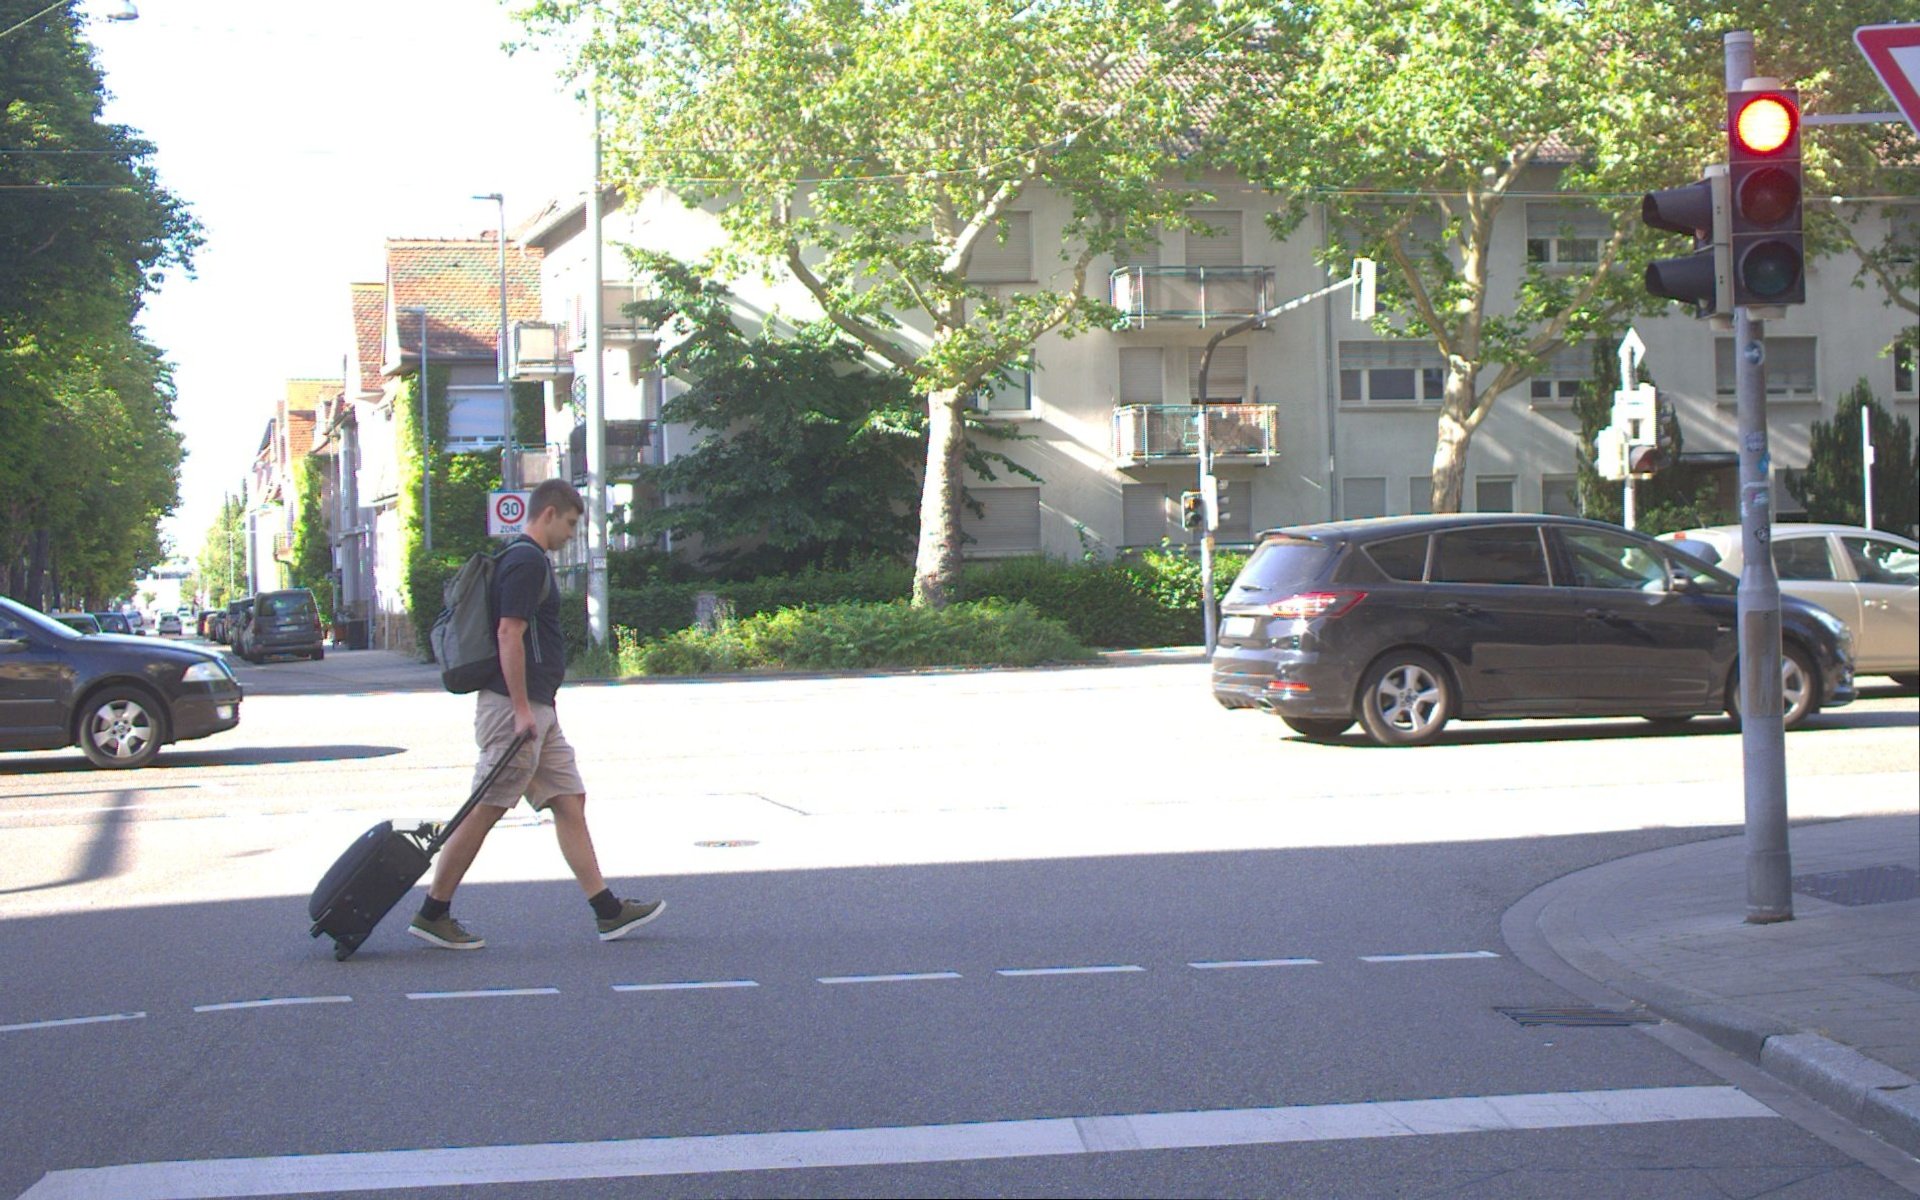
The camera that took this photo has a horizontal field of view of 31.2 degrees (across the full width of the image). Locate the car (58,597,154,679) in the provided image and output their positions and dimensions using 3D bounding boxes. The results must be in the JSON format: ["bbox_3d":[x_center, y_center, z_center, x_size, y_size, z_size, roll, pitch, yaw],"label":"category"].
[{"bbox_3d":[-17.262,0.749,69.610,1.698,1.478,3.535,-3,1,-12],"label":"car"}]

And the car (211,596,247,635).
[{"bbox_3d":[-38.445,0.819,180.830,1.772,1.912,3.535,-3,1,-12],"label":"car"}]

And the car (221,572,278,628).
[{"bbox_3d":[-26.444,-0.005,128.006,1.993,2.007,4.001,1,1,-11],"label":"car"}]

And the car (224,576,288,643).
[{"bbox_3d":[-21.441,0.269,104.650,1.772,1.912,3.535,-3,1,-12],"label":"car"}]

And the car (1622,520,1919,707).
[{"bbox_3d":[7.958,0.060,29.358,4.200,1.451,1.679,-2,2,-16],"label":"car"}]

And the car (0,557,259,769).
[{"bbox_3d":[-7.552,0.479,25.260,4.616,1.451,1.982,-2,1,-13],"label":"car"}]

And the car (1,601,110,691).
[{"bbox_3d":[-16.640,0.817,63.364,1.698,1.478,3.535,-3,1,-12],"label":"car"}]

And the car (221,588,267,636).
[{"bbox_3d":[-30.513,0.490,146.447,1.772,1.912,3.535,-3,1,-12],"label":"car"}]

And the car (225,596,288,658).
[{"bbox_3d":[-23.653,0.893,115.613,1.993,2.007,4.001,1,1,-11],"label":"car"}]

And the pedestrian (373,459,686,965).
[{"bbox_3d":[-1.661,0.406,13.177,1.065,1.842,0.749,-2,1,-13],"label":"pedestrian"}]

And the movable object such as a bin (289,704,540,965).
[{"bbox_3d":[-2.029,0.857,12.746,0.861,0.889,0.509,-2,1,-13],"label":"movable object such as a bin"}]

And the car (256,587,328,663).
[{"bbox_3d":[-18.378,0.661,94.535,1.772,1.912,3.535,-3,1,-12],"label":"car"}]

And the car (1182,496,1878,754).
[{"bbox_3d":[4.128,0.144,25.030,4.659,1.659,1.731,-2,1,-15],"label":"car"}]
